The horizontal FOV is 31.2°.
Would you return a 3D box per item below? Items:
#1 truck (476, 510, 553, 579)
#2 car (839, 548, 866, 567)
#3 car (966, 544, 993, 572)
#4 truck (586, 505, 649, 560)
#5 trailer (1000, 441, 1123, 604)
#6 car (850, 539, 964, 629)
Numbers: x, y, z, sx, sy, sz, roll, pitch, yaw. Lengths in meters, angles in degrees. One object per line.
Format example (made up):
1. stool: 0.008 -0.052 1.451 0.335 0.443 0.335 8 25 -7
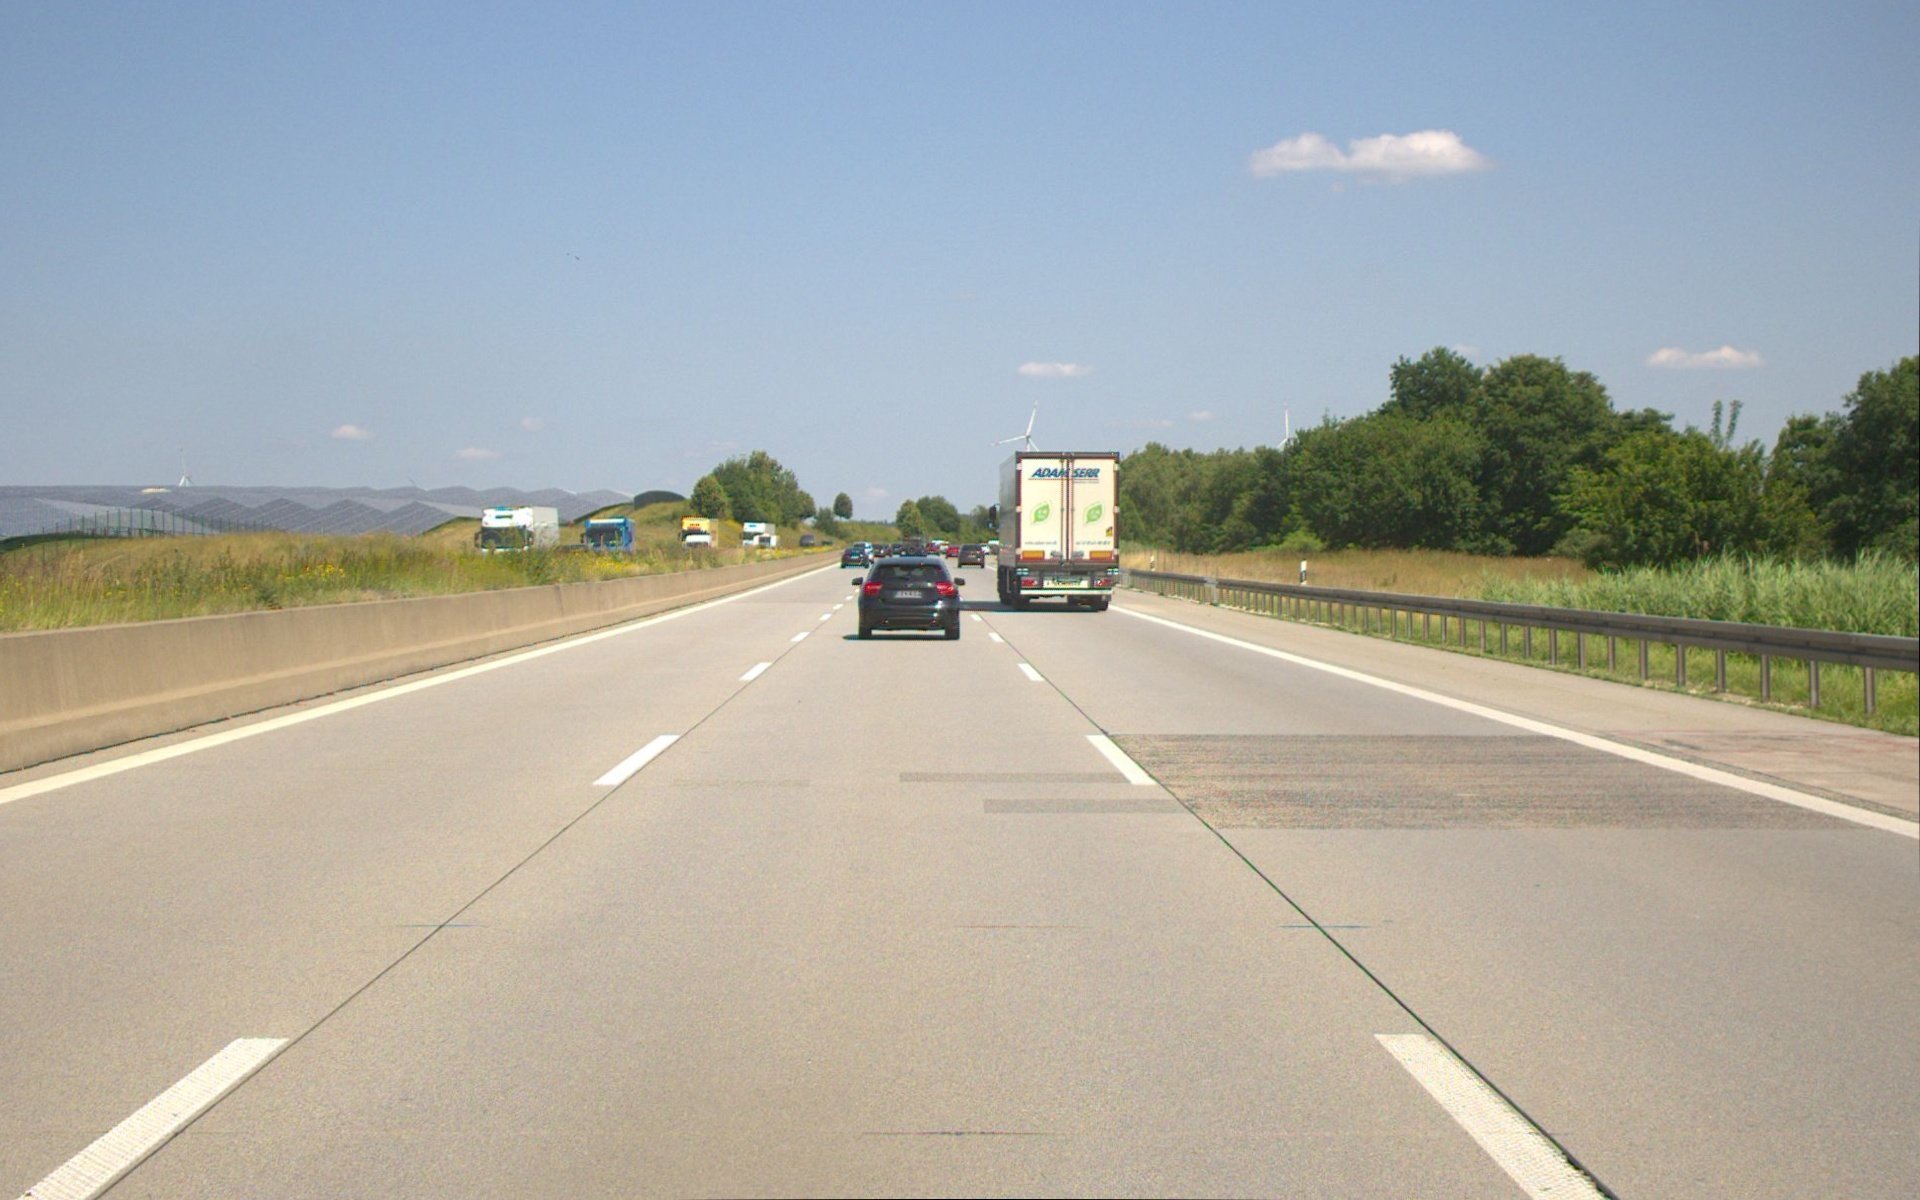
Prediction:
1. truck: -23.163 -2.876 179.116 3.122 3.475 6.885 1 0 0
2. car: -7.154 -2.834 229.040 1.655 1.192 3.960 3 1 -1
3. car: 1.338 -2.854 236.157 1.827 1.900 4.000 1 1 0
4. truck: -20.208 -3.955 203.187 2.824 3.053 10.376 1 0 -1
5. trailer: 2.606 -2.017 92.057 2.852 4.029 12.713 1 1 0
6. car: -0.947 -0.305 60.663 1.910 1.487 4.192 1 1 -1
